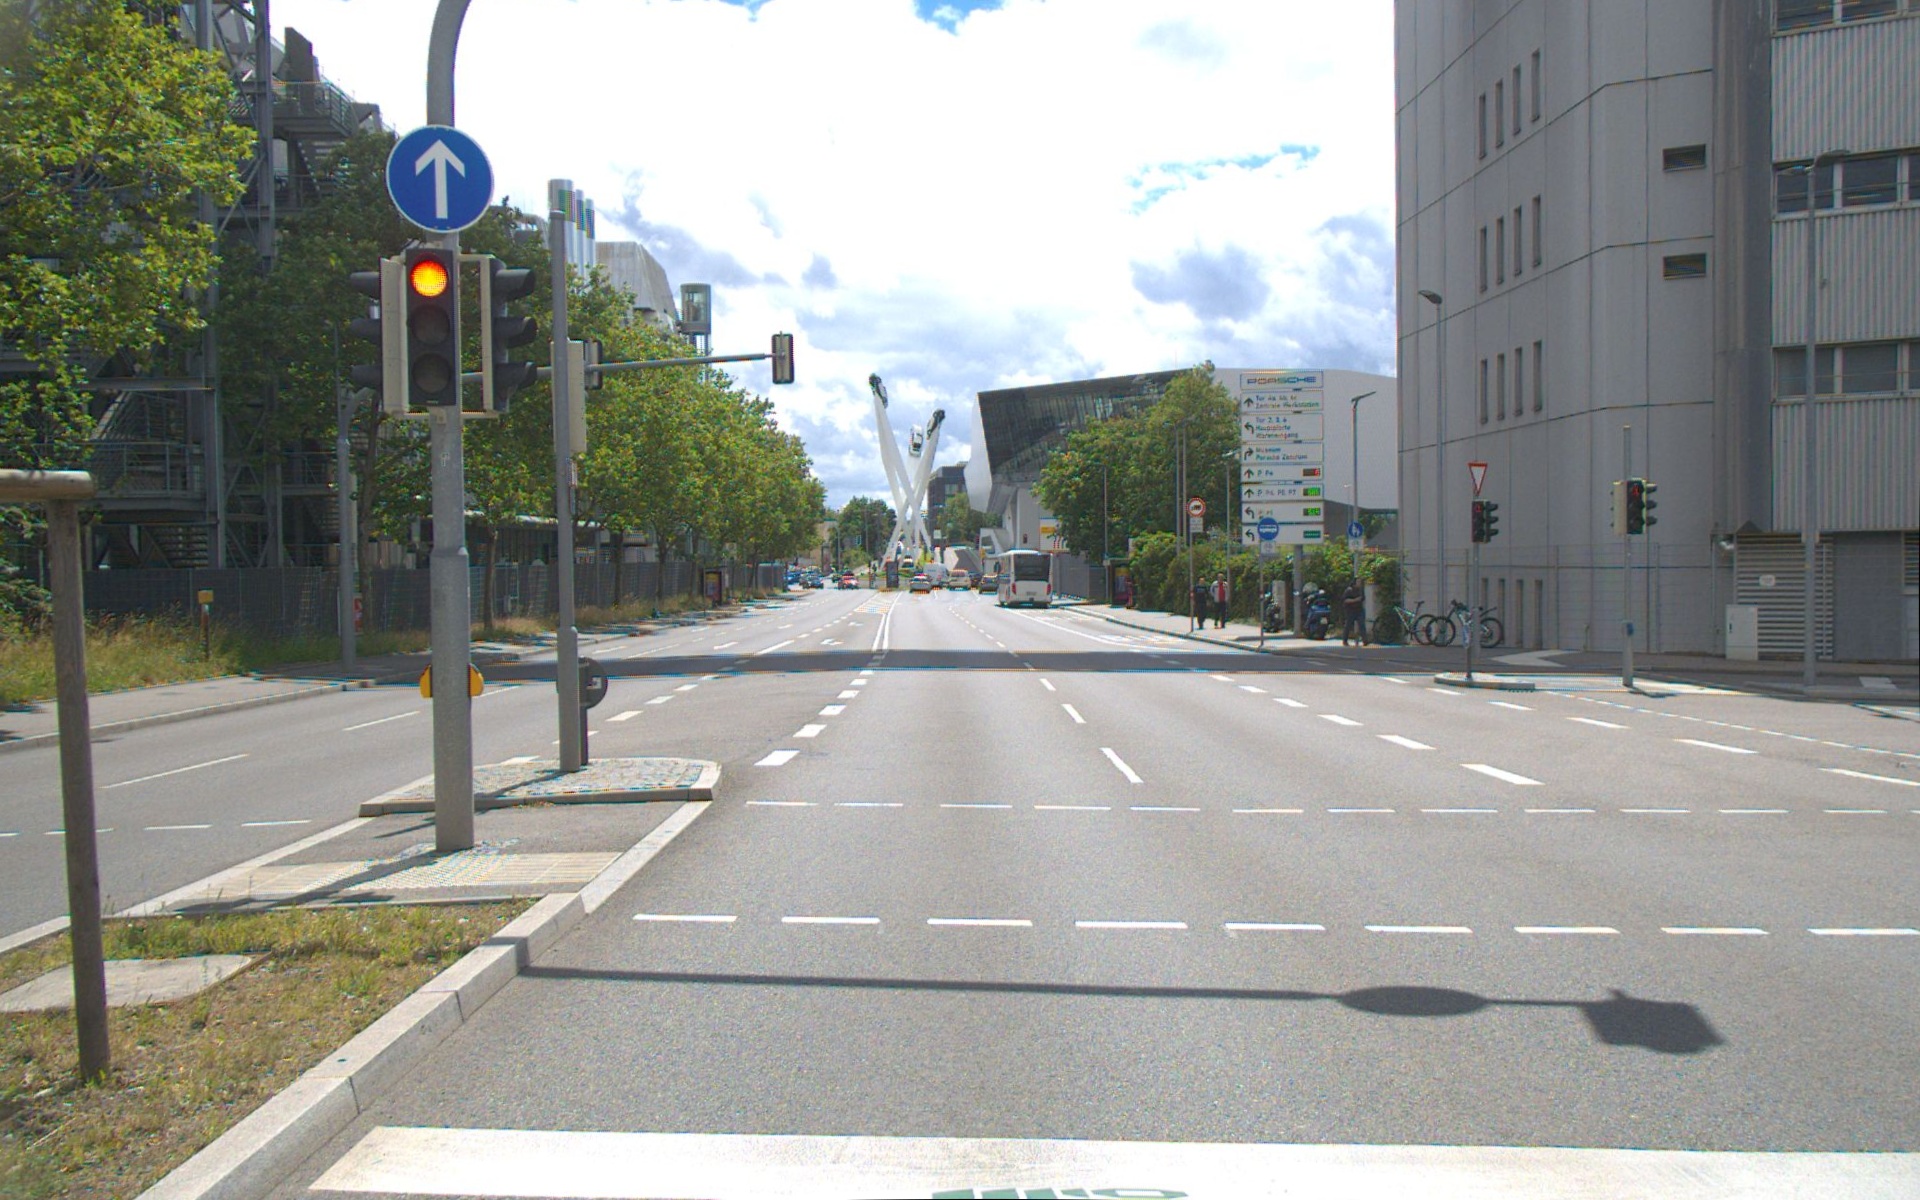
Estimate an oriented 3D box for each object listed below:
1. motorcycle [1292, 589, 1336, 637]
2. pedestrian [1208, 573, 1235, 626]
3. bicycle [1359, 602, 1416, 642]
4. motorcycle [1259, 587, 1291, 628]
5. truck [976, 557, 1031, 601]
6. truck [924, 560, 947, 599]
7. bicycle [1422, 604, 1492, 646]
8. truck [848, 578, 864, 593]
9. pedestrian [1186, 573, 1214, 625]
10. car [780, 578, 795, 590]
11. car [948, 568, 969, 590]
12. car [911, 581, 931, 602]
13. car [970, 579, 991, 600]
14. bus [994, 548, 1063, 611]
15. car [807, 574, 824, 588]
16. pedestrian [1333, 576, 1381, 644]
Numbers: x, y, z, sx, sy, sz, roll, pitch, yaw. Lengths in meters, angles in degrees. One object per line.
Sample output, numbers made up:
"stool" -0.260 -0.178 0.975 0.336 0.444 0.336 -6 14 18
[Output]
"motorcycle" 9.617 0.352 45.019 0.692 1.224 2.024 -2 1 -1
"pedestrian" 8.838 -0.023 55.851 0.803 1.772 0.637 0 0 -1
"bicycle" 10.615 0.544 41.112 0.391 0.953 1.917 0 0 -19
"motorcycle" 10.066 0.226 52.886 0.562 1.224 2.024 -2 1 -1
"truck" 4.601 -2.133 171.733 3.379 4.468 9.426 0 0 17
"truck" -2.522 -2.151 172.084 2.343 3.965 6.176 0 0 -1
"bicycle" 11.649 0.579 38.840 0.392 0.953 1.912 0 0 -26
"truck" -11.113 -1.564 177.392 1.553 1.564 3.673 0 0 -6
"pedestrian" 8.109 -0.022 55.921 0.803 1.737 0.881 0 0 -1
"car" -23.083 -2.136 221.646 1.782 1.564 3.676 -2 0 -3
"car" -0.148 -2.115 165.499 1.952 2.049 4.001 1 -1 2
"car" -3.436 -0.748 146.685 1.703 1.772 3.691 0 0 -1
"car" 1.811 -0.941 147.475 1.703 1.772 3.691 0 0 -1
"bus" 4.085 -1.210 100.755 3.383 3.605 10.601 0 0 -2
"car" -16.731 -2.195 191.317 1.784 1.564 3.674 -2 0 -6
"pedestrian" 9.768 0.243 40.701 0.834 1.653 0.951 0 0 40
